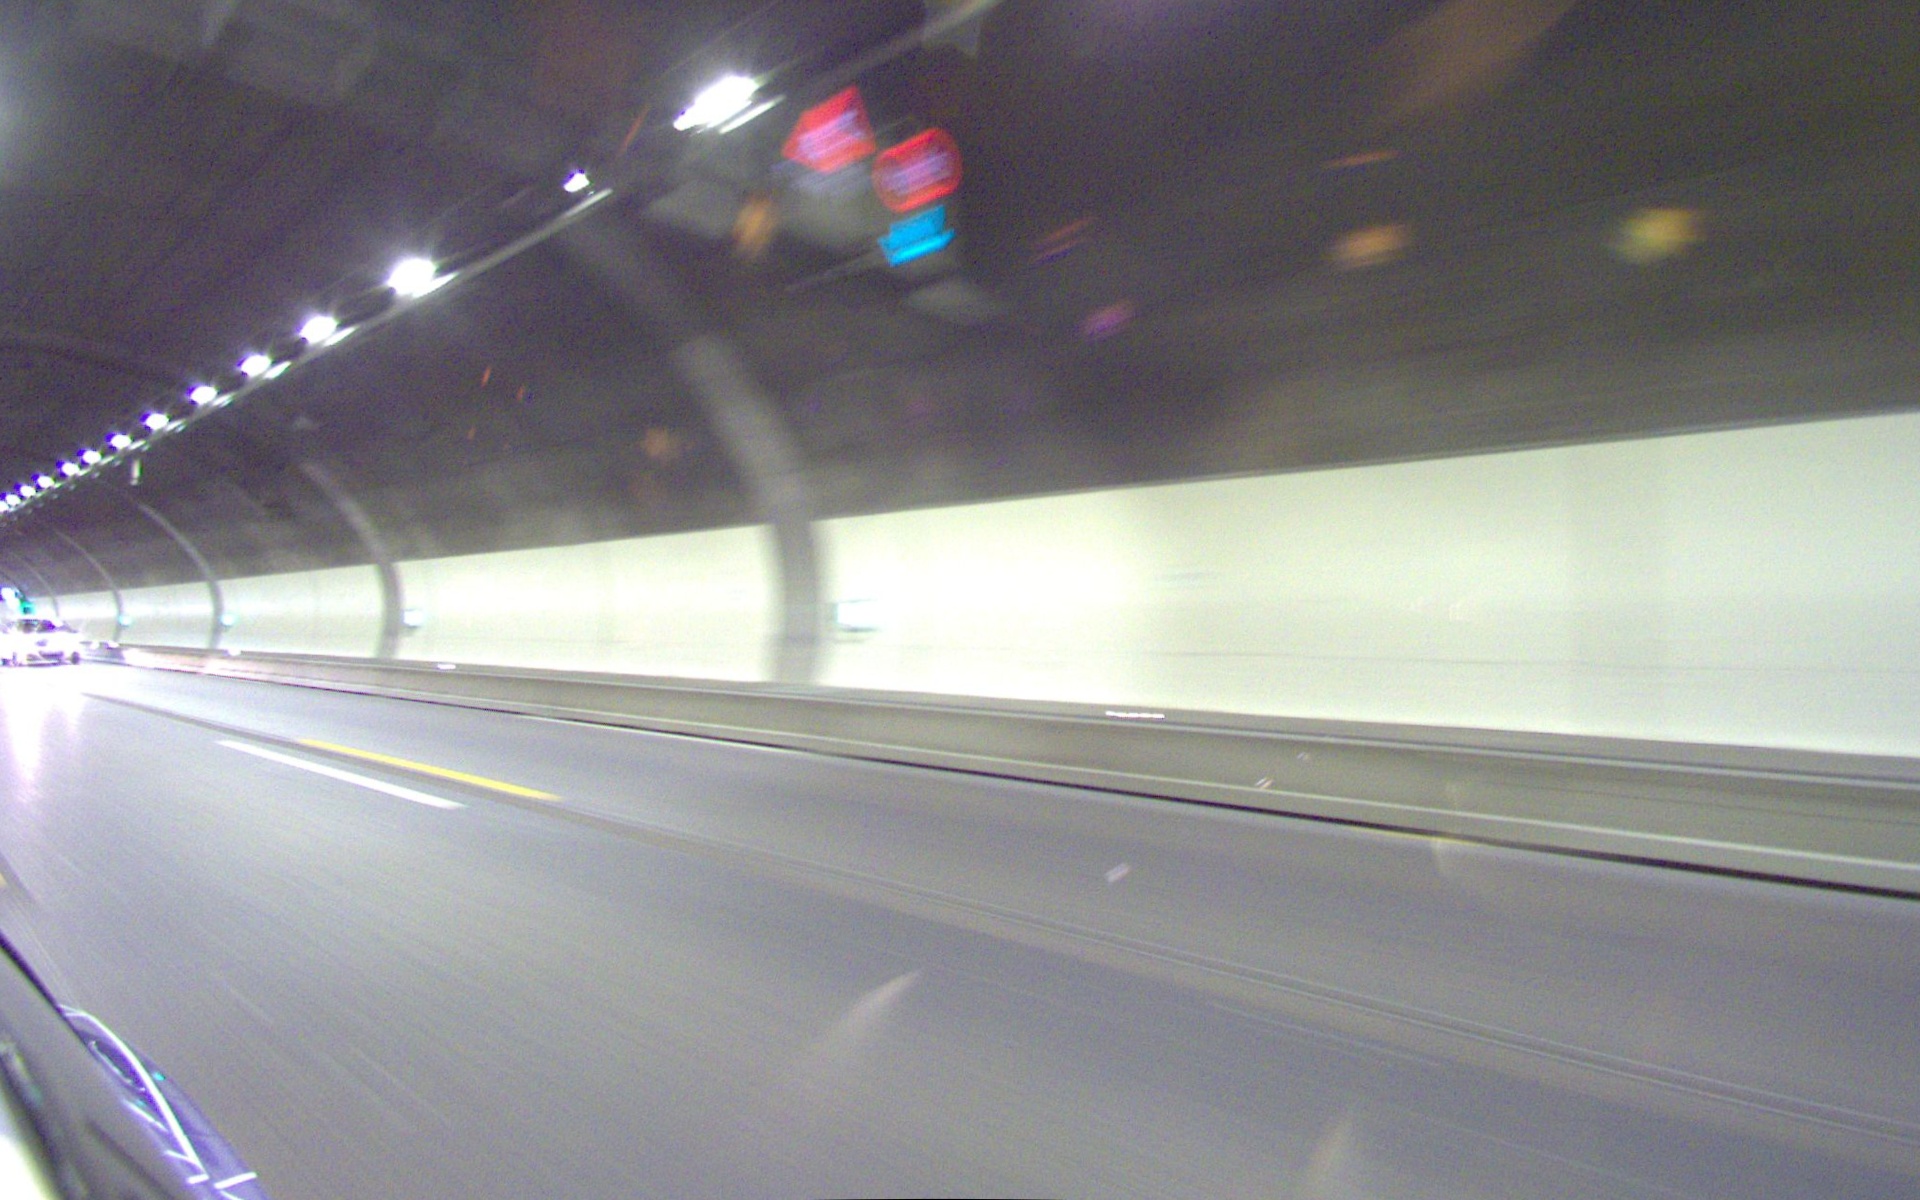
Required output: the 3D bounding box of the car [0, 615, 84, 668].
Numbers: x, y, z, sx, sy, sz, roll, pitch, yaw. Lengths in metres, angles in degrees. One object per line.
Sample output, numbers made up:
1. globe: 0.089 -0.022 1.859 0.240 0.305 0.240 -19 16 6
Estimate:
1. car: -30.288 1.312 33.196 4.094 1.584 1.744 -1 0 40
